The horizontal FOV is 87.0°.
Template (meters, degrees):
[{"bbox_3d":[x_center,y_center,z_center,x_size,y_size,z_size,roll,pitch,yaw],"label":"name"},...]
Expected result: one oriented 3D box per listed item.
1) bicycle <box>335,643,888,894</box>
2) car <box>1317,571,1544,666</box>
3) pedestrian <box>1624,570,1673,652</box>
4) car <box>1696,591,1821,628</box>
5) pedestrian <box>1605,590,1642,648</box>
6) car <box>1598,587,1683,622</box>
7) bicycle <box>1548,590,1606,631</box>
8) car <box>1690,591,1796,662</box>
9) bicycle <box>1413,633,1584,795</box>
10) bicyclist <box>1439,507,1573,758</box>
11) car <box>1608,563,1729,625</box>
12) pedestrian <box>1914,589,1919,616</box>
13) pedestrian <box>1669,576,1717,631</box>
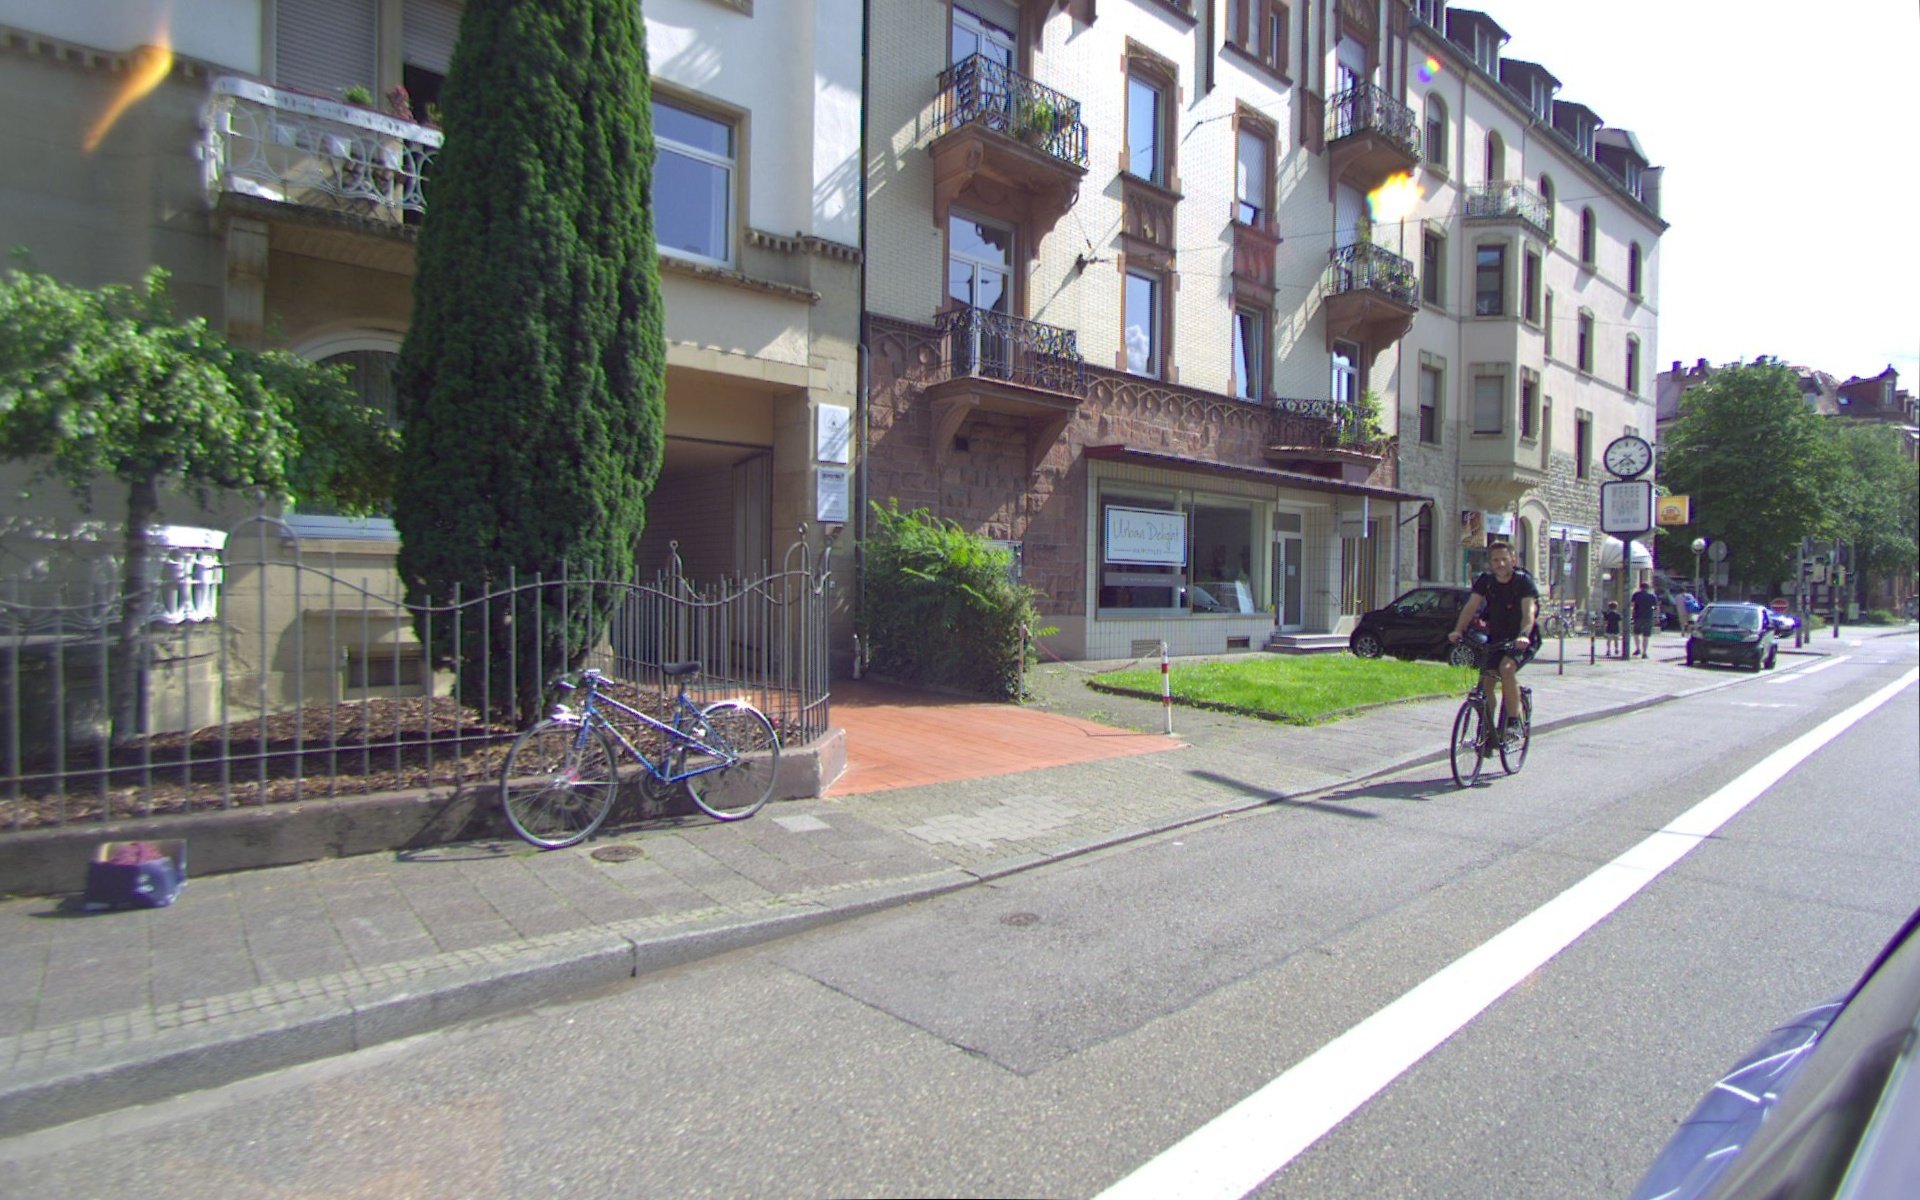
[{"bbox_3d":[-1.791,0.818,5.829,3.015,0.972,0.600,0,5,-44],"label":"bicycle"},{"bbox_3d":[8.946,0.275,19.422,1.936,1.542,3.412,0,3,-38],"label":"car"},{"bbox_3d":[16.444,0.240,24.180,0.659,1.863,0.860,9,6,41],"label":"pedestrian"},{"bbox_3d":[33.370,0.361,42.450,1.854,1.436,4.005,1,1,-5],"label":"car"},{"bbox_3d":[16.062,0.453,24.501,0.570,1.341,0.436,8,5,42],"label":"pedestrian"},{"bbox_3d":[32.776,0.195,48.871,1.699,1.574,4.105,-2,0,7],"label":"car"},{"bbox_3d":[18.920,0.308,30.997,2.706,1.192,0.805,-1,0,-44],"label":"bicycle"},{"bbox_3d":[18.828,0.599,24.325,2.747,1.517,1.516,0,4,-43],"label":"car"},{"bbox_3d":[4.544,0.893,8.486,1.804,1.057,0.617,-3,6,-41],"label":"bicycle"},{"bbox_3d":[4.629,0.252,8.563,1.110,1.973,0.608,-1,-1,-41],"label":"bicyclist"},{"bbox_3d":[35.878,-0.298,51.559,2.354,2.829,6.655,2,0,10],"label":"car"},{"bbox_3d":[61.194,0.158,64.347,0.525,1.675,0.706,0,-1,-40],"label":"pedestrian"},{"bbox_3d":[25.994,0.117,35.903,0.834,1.788,1.014,1,6,-39],"label":"pedestrian"}]
